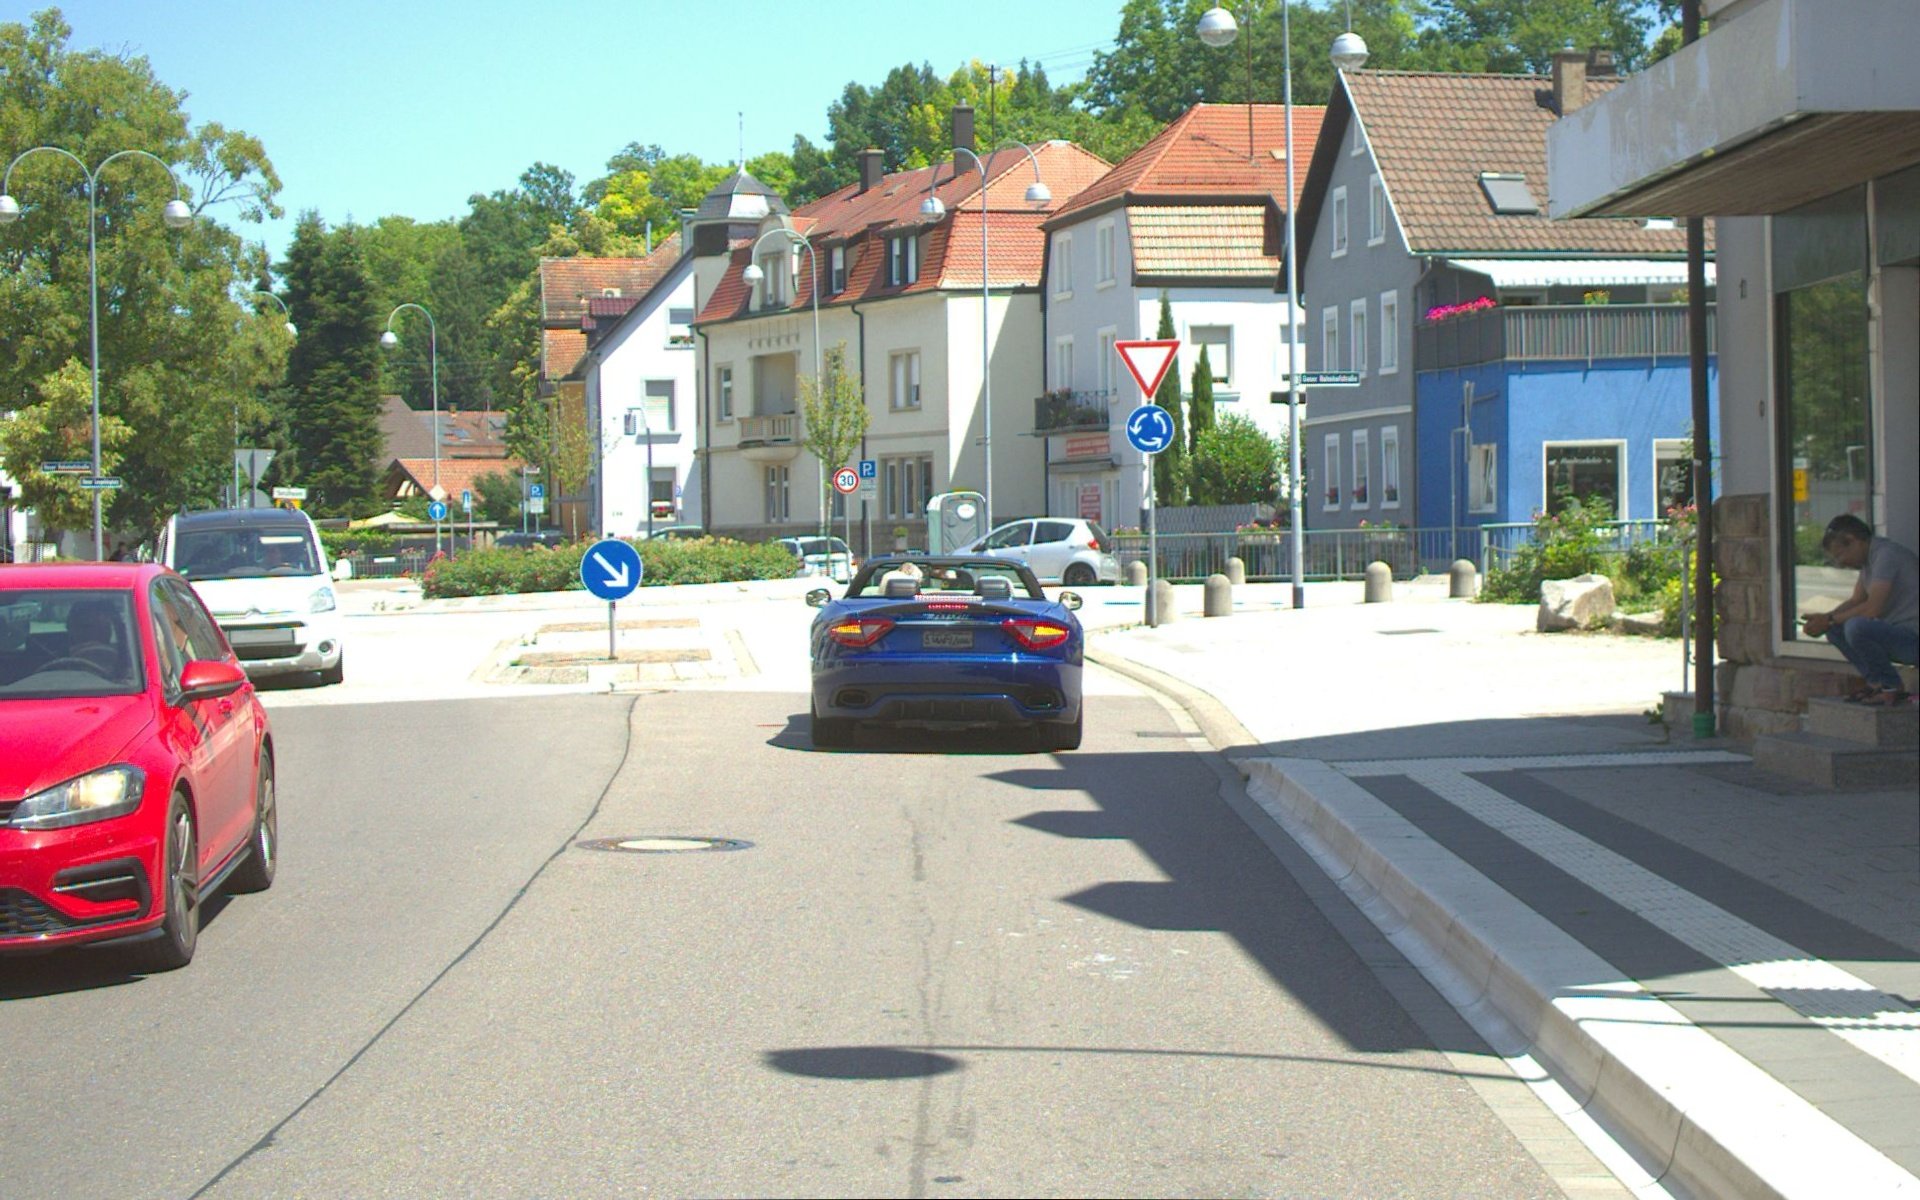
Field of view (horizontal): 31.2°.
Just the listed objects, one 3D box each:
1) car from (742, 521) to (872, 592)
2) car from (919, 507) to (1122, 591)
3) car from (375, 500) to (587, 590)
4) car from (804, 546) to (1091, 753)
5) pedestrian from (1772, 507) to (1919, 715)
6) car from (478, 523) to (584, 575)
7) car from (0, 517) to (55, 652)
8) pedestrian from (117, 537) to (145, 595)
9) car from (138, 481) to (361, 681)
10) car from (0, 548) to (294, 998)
[{"bbox_3d":[-3.782,-1.050,84.214,1.918,1.607,4.148,-2,0,-21],"label":"car"},{"bbox_3d":[1.140,-0.956,64.203,3.461,1.445,1.579,-2,1,14],"label":"car"},{"bbox_3d":[-7.746,-0.864,55.335,1.993,1.325,4.201,-3,1,-28],"label":"car"},{"bbox_3d":[-0.092,0.299,25.059,1.910,1.356,4.286,0,1,0],"label":"car"},{"bbox_3d":[4.465,0.043,17.170,0.590,0.996,0.724,-2,1,-3],"label":"pedestrian"},{"bbox_3d":[-13.892,-1.645,111.147,1.850,1.582,4.000,-3,2,-31],"label":"car"},{"bbox_3d":[-15.397,-0.237,49.500,4.219,1.868,1.762,0,2,14],"label":"car"},{"bbox_3d":[-22.862,-0.930,94.816,0.535,1.570,0.562,-1,1,10],"label":"pedestrian"},{"bbox_3d":[-7.133,-0.225,34.766,1.993,1.816,4.417,-3,1,-11],"label":"car"},{"bbox_3d":[-3.763,0.568,13.105,1.915,1.422,3.981,-3,1,-5],"label":"car"}]
